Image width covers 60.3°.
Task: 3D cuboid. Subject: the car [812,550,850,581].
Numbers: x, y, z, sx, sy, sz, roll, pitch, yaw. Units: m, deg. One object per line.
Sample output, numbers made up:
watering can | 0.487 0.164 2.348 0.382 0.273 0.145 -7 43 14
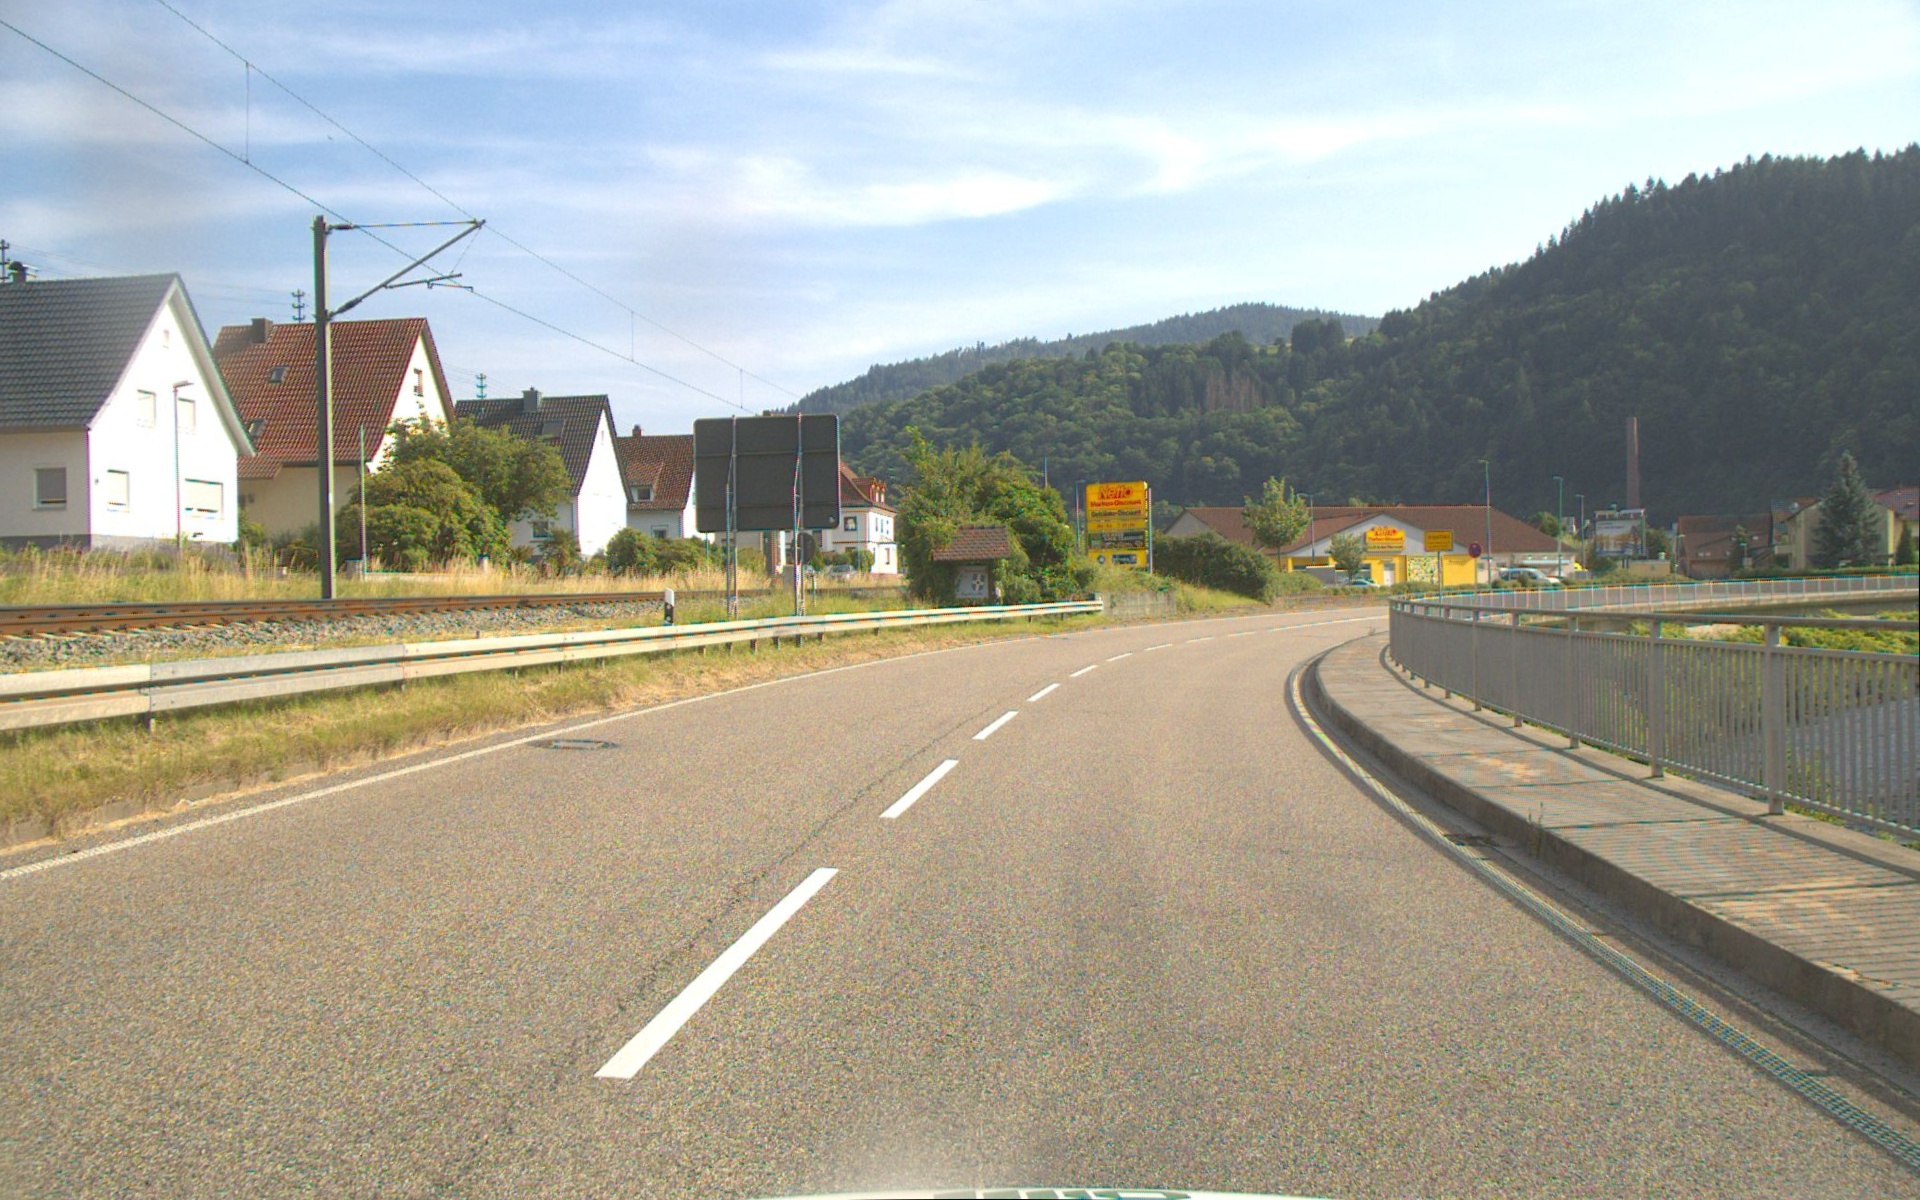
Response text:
car | -9.107 -2.412 117.349 1.953 1.914 4.002 6 0 4

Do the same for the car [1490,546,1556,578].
car | 39.403 -2.637 115.806 3.927 2.049 1.989 1 -3 41

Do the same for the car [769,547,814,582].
car | -10.560 -2.224 103.706 1.953 1.914 4.002 6 0 4
